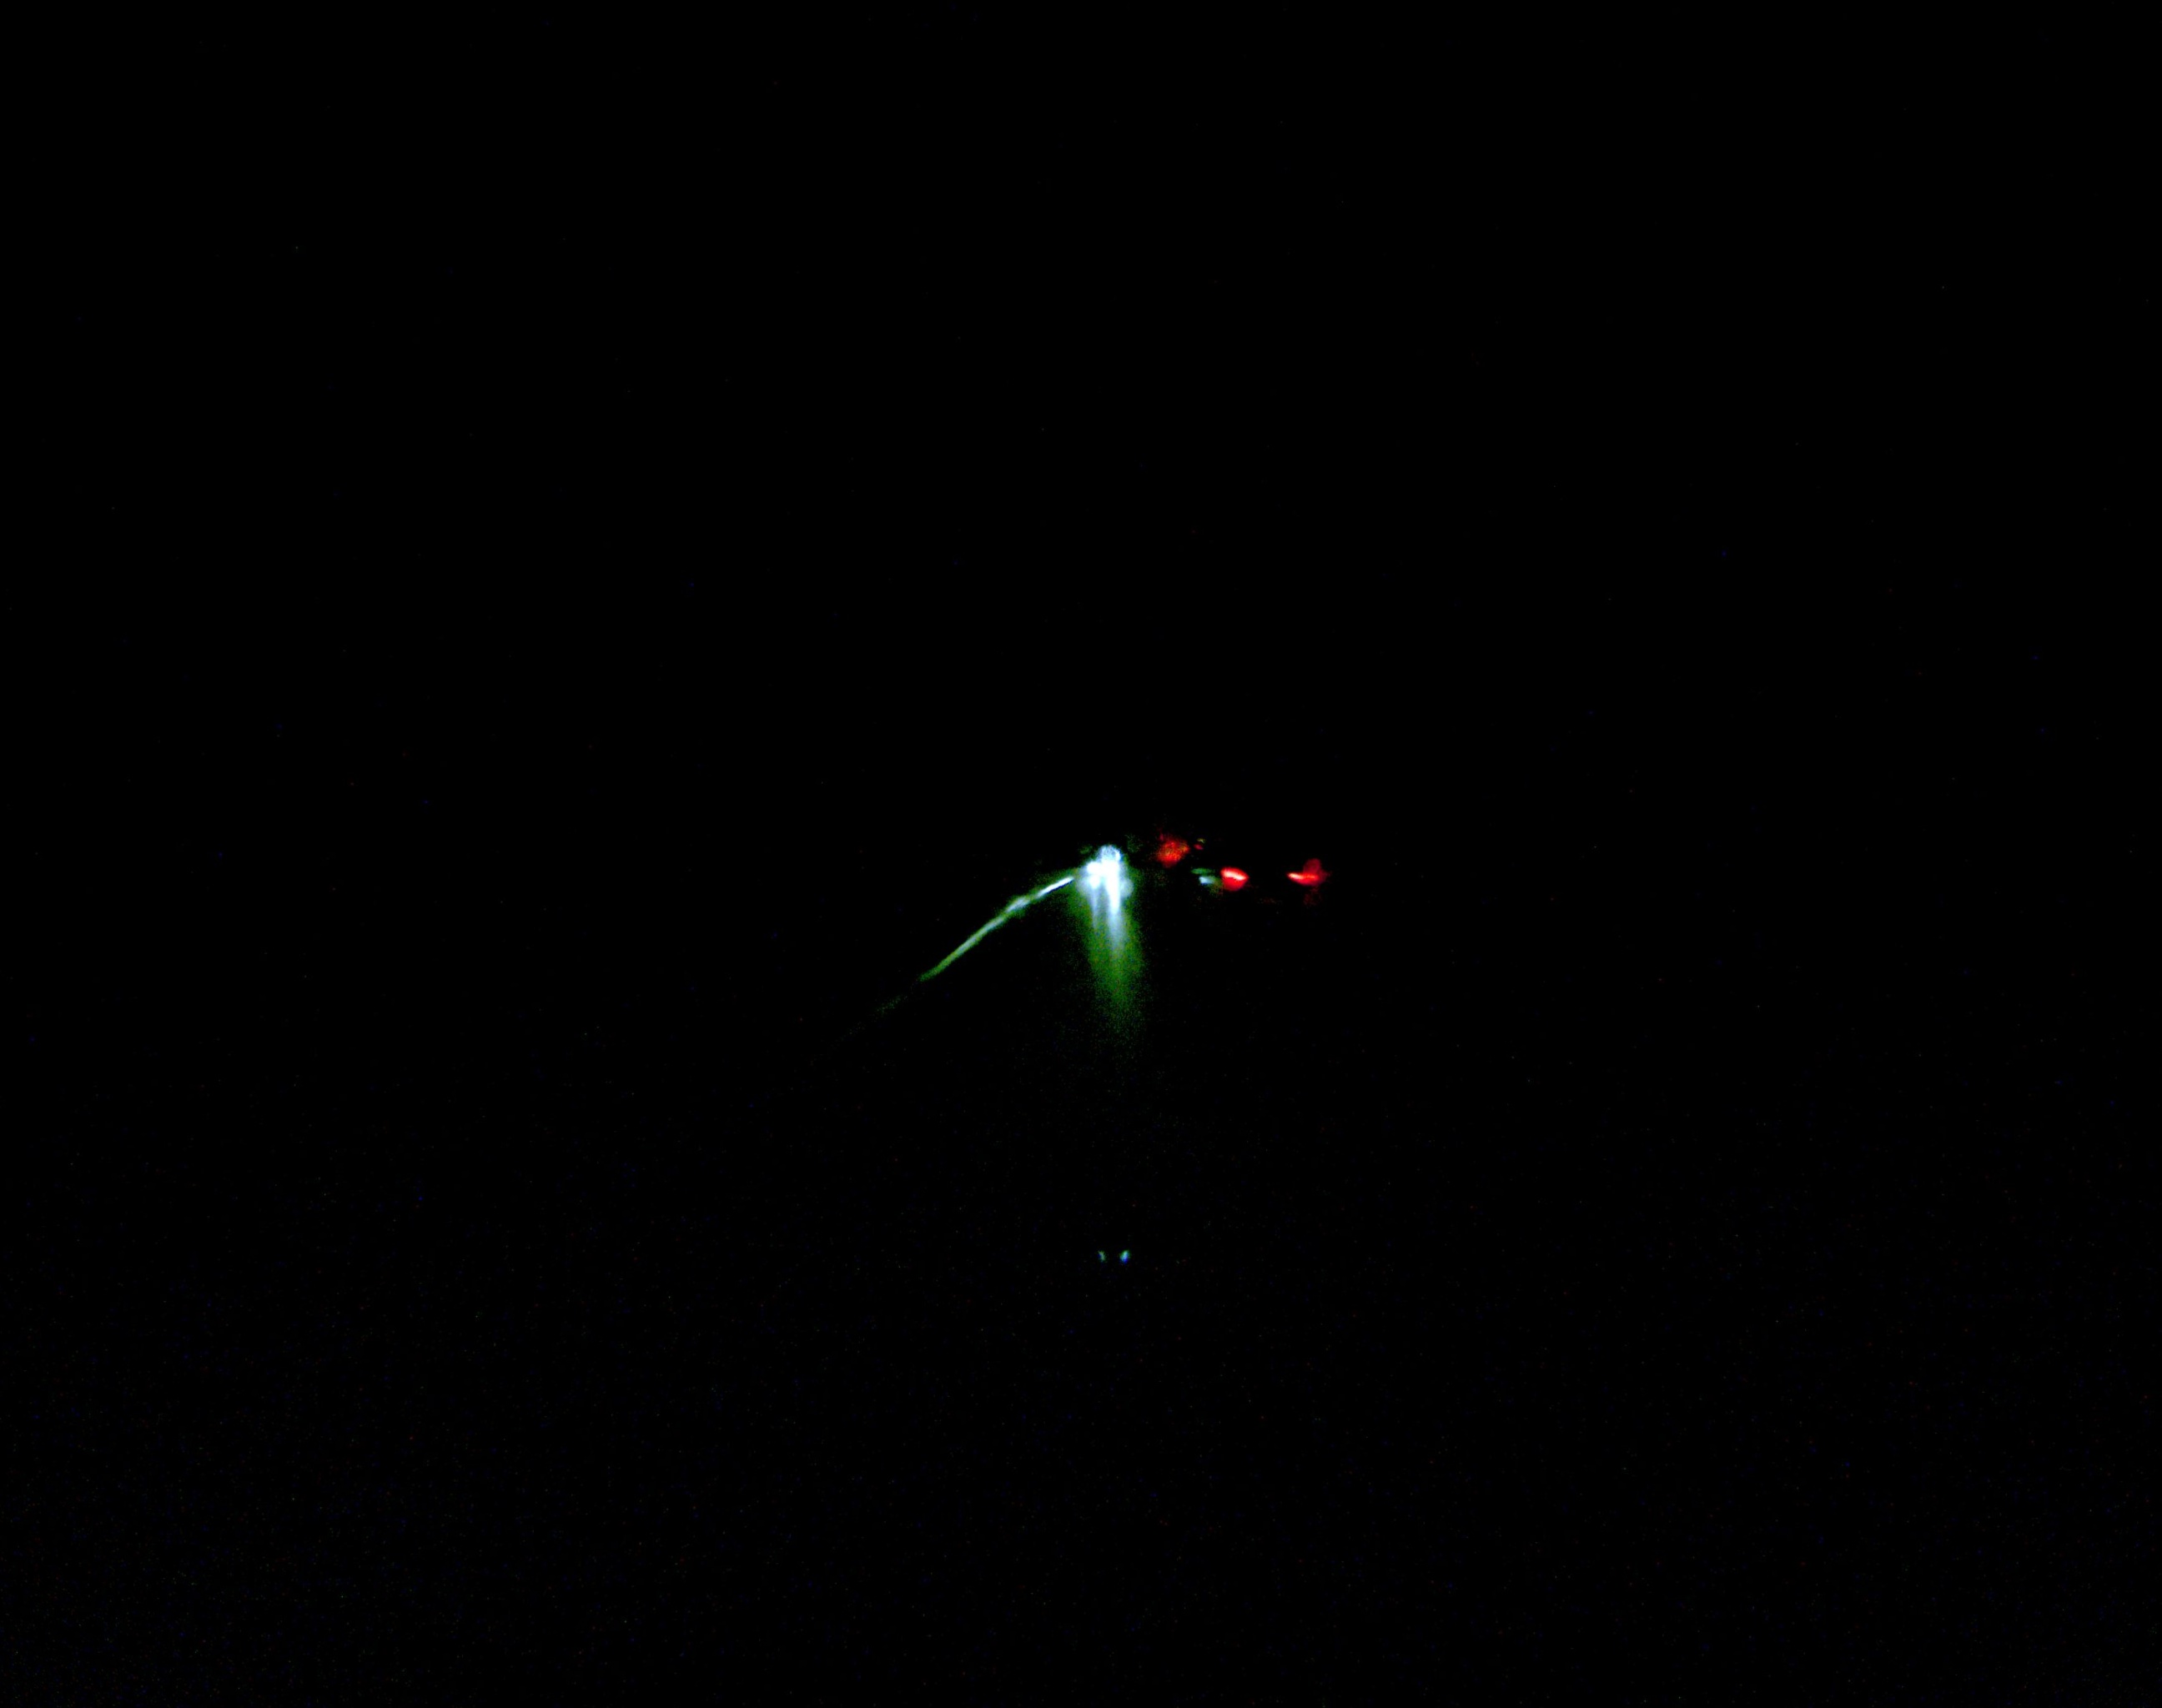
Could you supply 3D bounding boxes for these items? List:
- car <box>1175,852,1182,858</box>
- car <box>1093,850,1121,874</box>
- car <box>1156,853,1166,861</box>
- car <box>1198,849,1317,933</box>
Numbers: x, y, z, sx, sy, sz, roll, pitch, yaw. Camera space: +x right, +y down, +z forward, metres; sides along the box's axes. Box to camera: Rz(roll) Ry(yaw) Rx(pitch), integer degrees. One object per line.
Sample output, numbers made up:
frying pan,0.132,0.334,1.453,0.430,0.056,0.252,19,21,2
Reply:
car,26.277,0.263,204.383,1.834,1.545,4.444,-2,0,8
car,2.039,0.619,59.428,1.998,1.804,4.001,-1,0,4
car,16.551,0.591,156.481,1.859,1.512,4.683,-2,0,8
car,3.794,0.727,17.016,1.726,1.603,4.002,-2,0,0
